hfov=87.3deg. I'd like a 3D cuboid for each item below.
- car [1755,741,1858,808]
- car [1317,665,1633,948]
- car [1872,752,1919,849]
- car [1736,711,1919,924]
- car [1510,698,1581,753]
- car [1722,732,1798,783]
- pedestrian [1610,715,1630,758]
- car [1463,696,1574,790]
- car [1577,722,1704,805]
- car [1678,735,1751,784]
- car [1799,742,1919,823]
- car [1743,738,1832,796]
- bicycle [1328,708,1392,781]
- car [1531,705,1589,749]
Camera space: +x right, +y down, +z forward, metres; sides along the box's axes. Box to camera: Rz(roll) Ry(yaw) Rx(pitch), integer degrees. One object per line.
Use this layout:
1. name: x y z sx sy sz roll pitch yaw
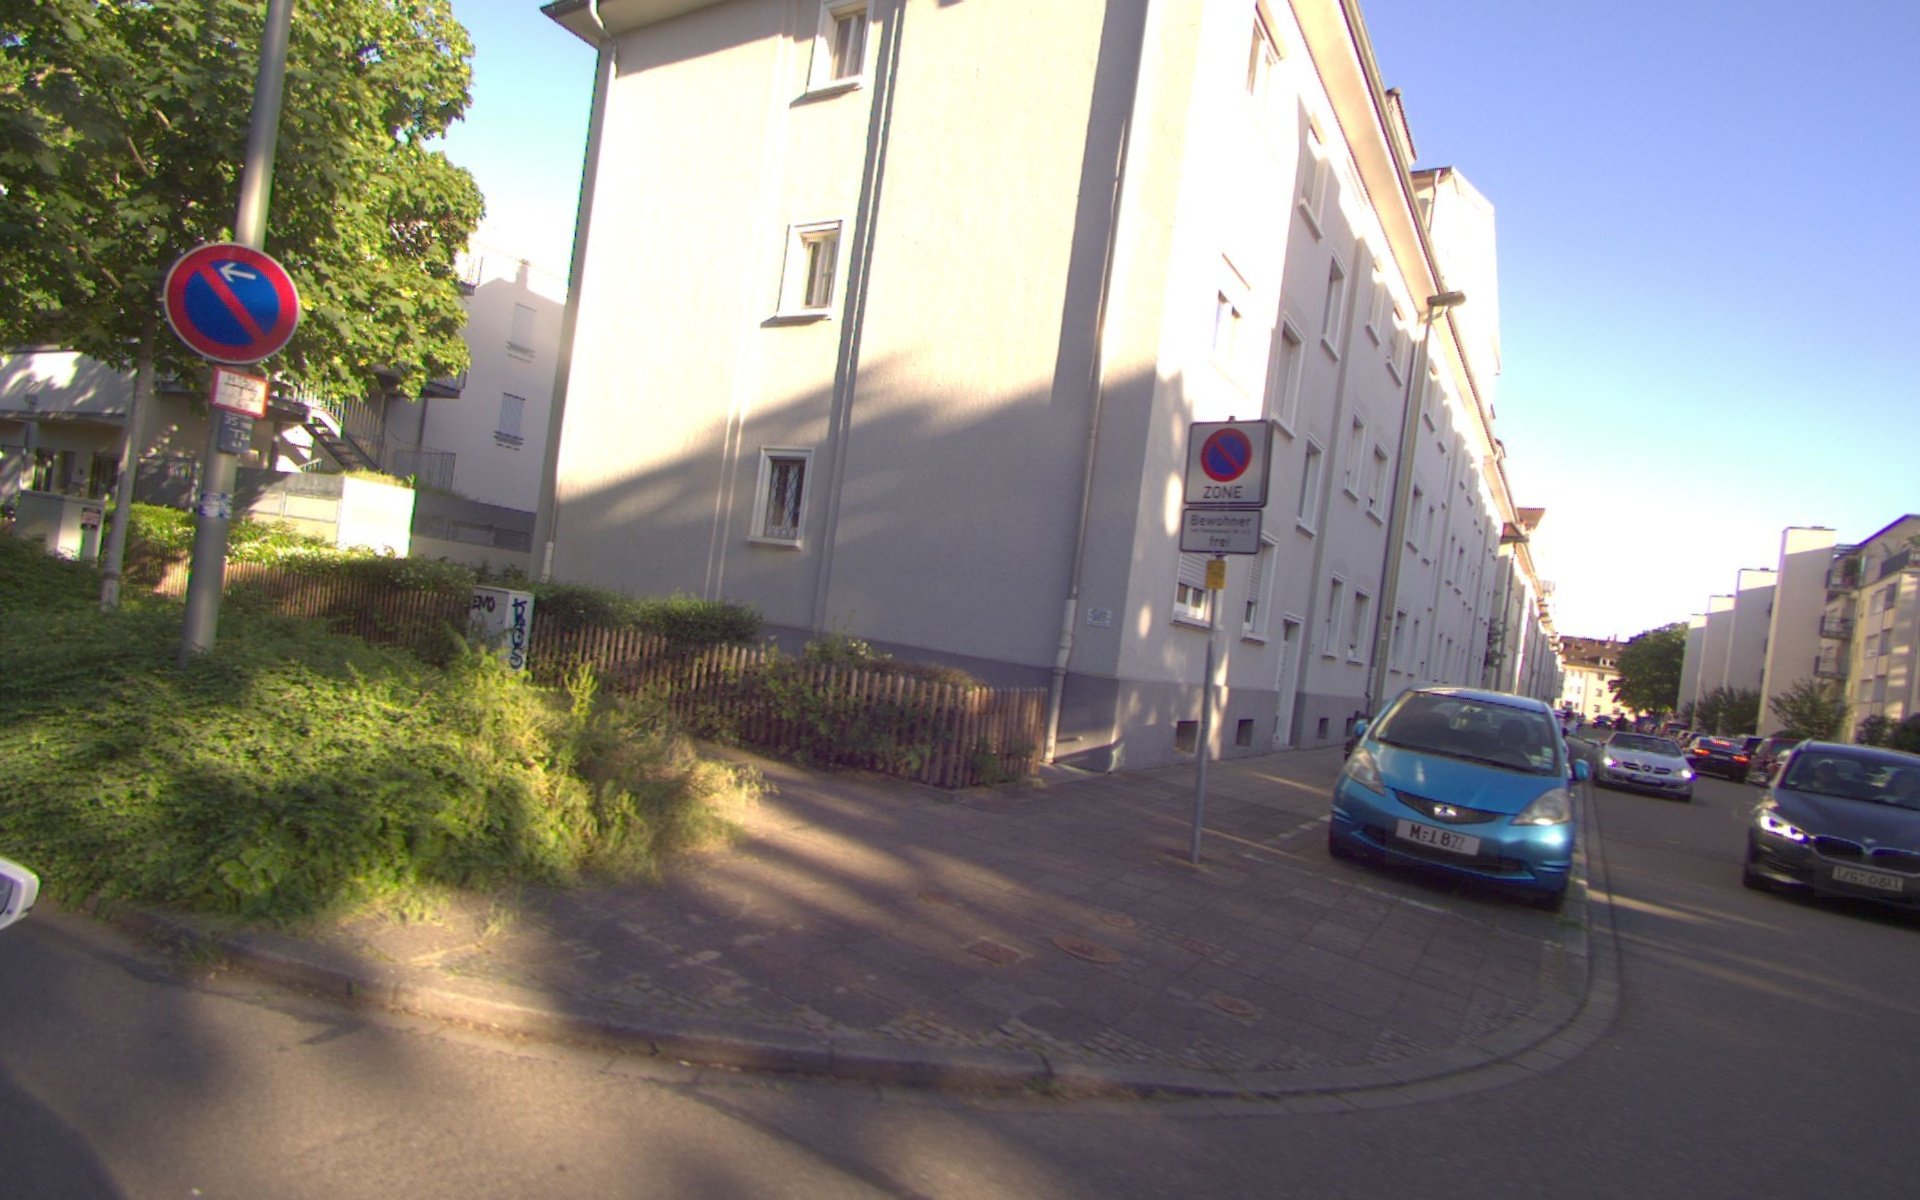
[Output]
1. car: 28.874 5.895 34.427 1.867 1.686 3.772 9 -1 30
2. car: 4.502 1.562 8.781 1.779 1.600 3.996 8 -1 30
3. car: 19.250 3.973 19.159 1.867 1.686 3.772 7 -2 30
4. car: 9.601 2.275 10.759 1.744 1.691 4.266 6 -4 41
5. car: 19.162 4.112 32.846 1.677 1.420 3.994 7 -3 34
6. car: 34.815 6.814 43.866 1.867 1.686 3.772 9 -1 30
7. pedestrian: 32.411 6.708 49.407 0.545 2.037 0.809 8 -1 31
8. car: 11.748 2.953 21.040 1.705 1.514 4.023 7 -3 32
9. car: 15.203 3.595 22.665 1.683 1.367 3.799 8 -2 26
10. car: 27.655 5.807 36.978 1.721 1.407 3.498 7 -2 33
11. car: 25.655 5.113 28.646 1.867 1.686 3.772 9 -1 30
12. car: 32.013 6.409 39.043 1.867 1.686 3.772 9 -1 30
13. bicycle: 5.945 2.124 14.902 0.475 0.936 1.968 8 -2 31
14. car: 23.241 4.912 39.063 1.684 1.367 4.019 8 -2 30
